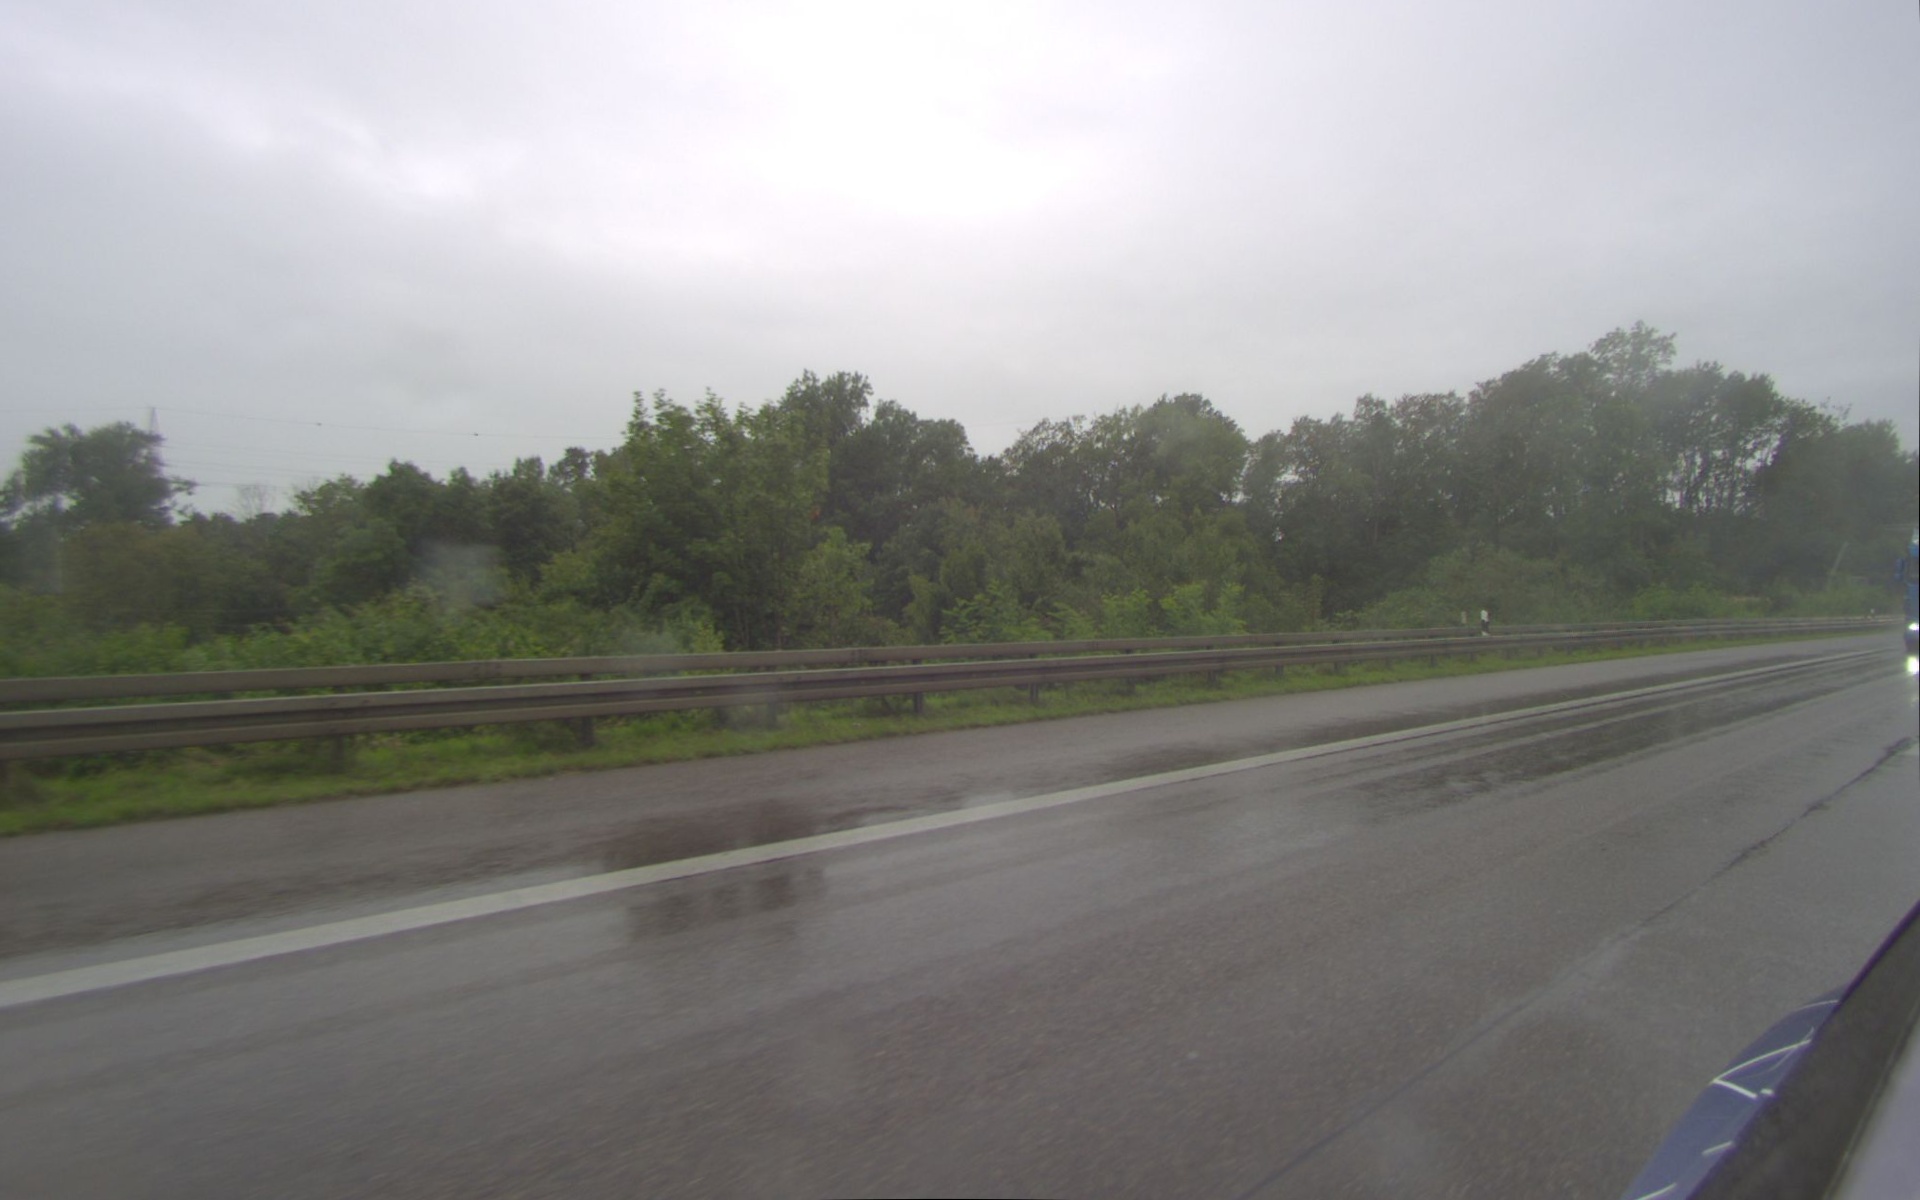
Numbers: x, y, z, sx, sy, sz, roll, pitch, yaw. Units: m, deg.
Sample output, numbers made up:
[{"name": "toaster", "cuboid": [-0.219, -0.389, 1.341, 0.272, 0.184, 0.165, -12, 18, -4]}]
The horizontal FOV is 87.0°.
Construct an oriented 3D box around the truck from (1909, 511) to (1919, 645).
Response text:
[{"name": "truck", "cuboid": [32.605, -0.677, 32.131, 6.365, 4.129, 2.755, 0, 1, -39]}]
